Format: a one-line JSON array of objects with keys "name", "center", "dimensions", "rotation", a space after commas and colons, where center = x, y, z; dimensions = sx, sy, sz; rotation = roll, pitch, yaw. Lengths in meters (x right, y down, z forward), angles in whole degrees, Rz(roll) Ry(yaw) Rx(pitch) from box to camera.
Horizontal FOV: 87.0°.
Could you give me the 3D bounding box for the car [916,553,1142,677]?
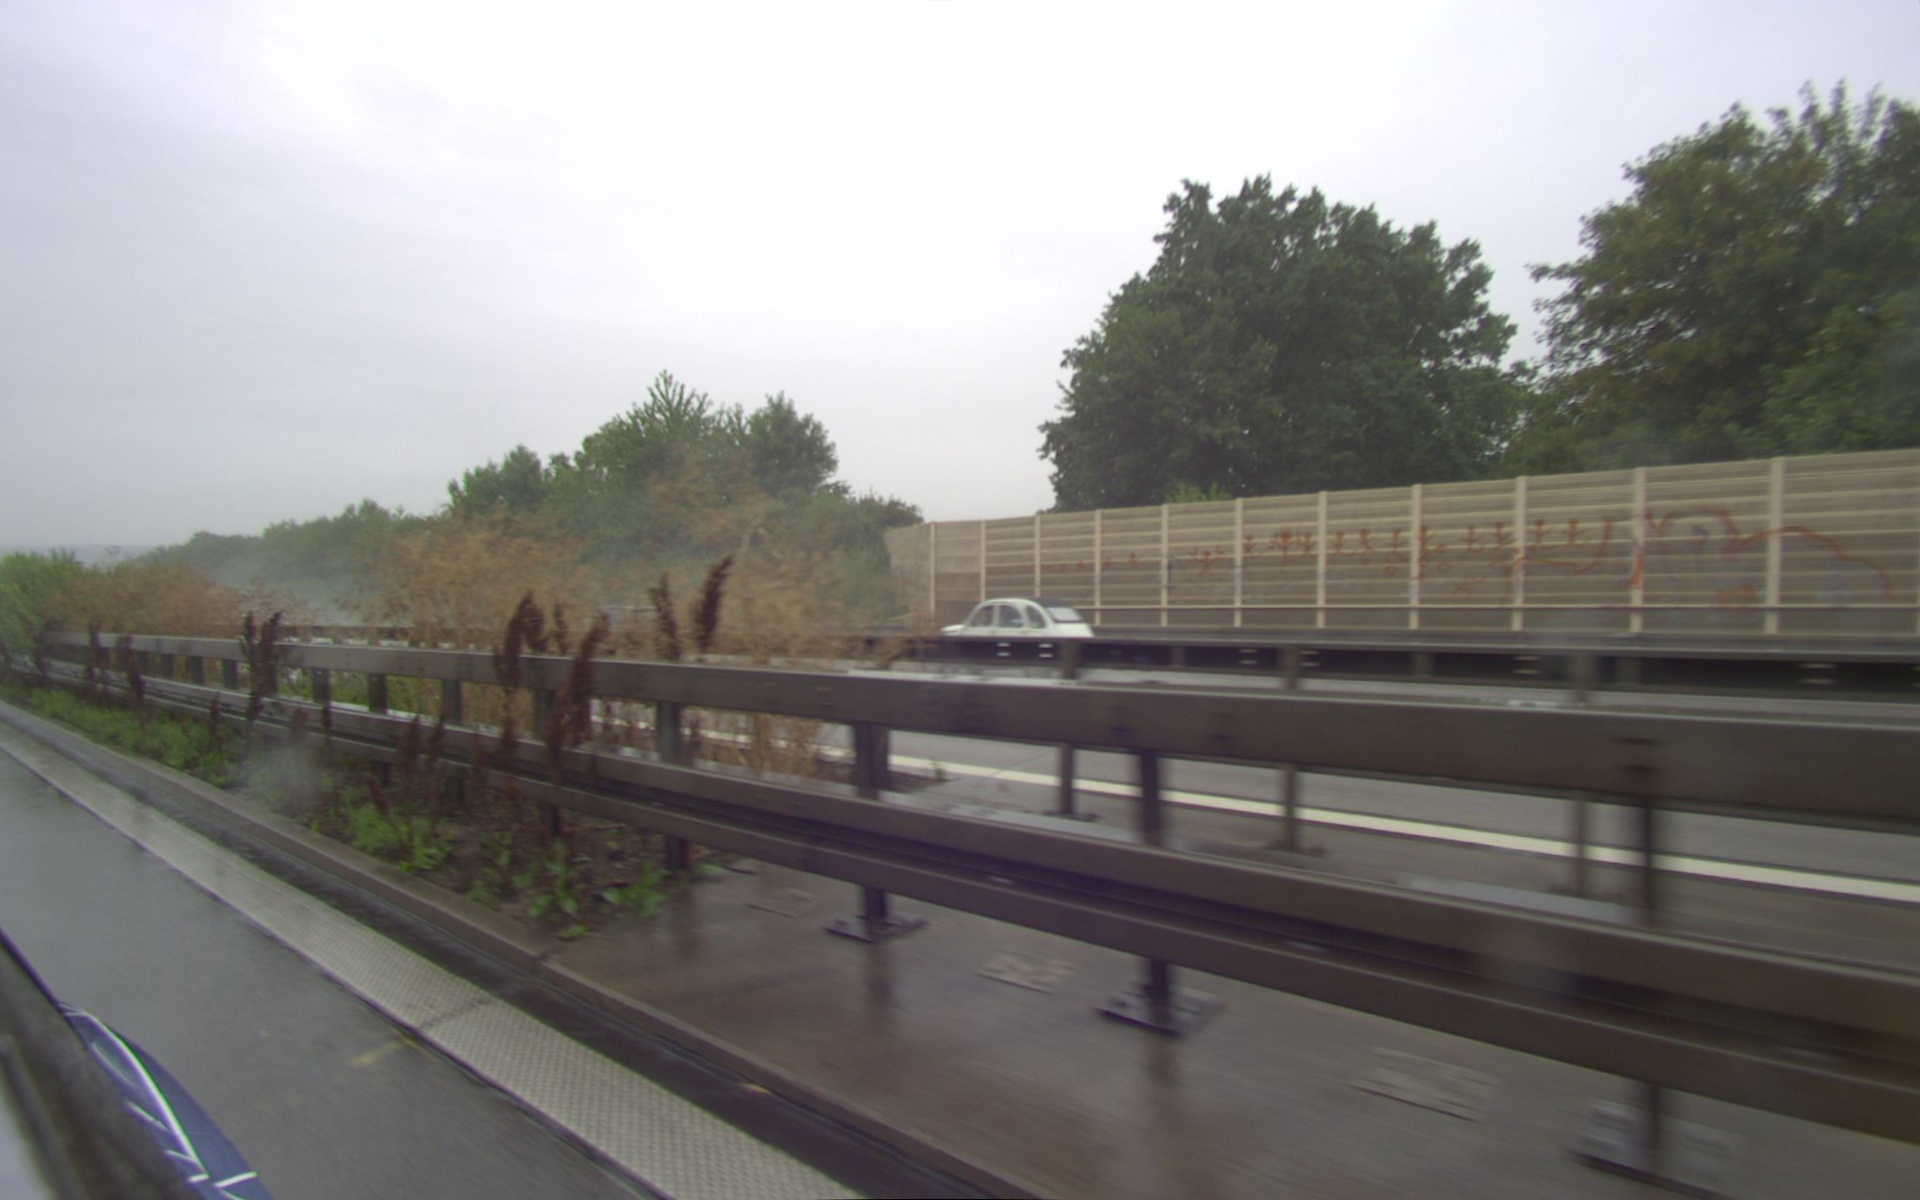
[{"name": "car", "center": [1.205, 0.242, 18.525], "dimensions": [3.778, 2.029, 1.837], "rotation": [-1, 1, 42]}]
